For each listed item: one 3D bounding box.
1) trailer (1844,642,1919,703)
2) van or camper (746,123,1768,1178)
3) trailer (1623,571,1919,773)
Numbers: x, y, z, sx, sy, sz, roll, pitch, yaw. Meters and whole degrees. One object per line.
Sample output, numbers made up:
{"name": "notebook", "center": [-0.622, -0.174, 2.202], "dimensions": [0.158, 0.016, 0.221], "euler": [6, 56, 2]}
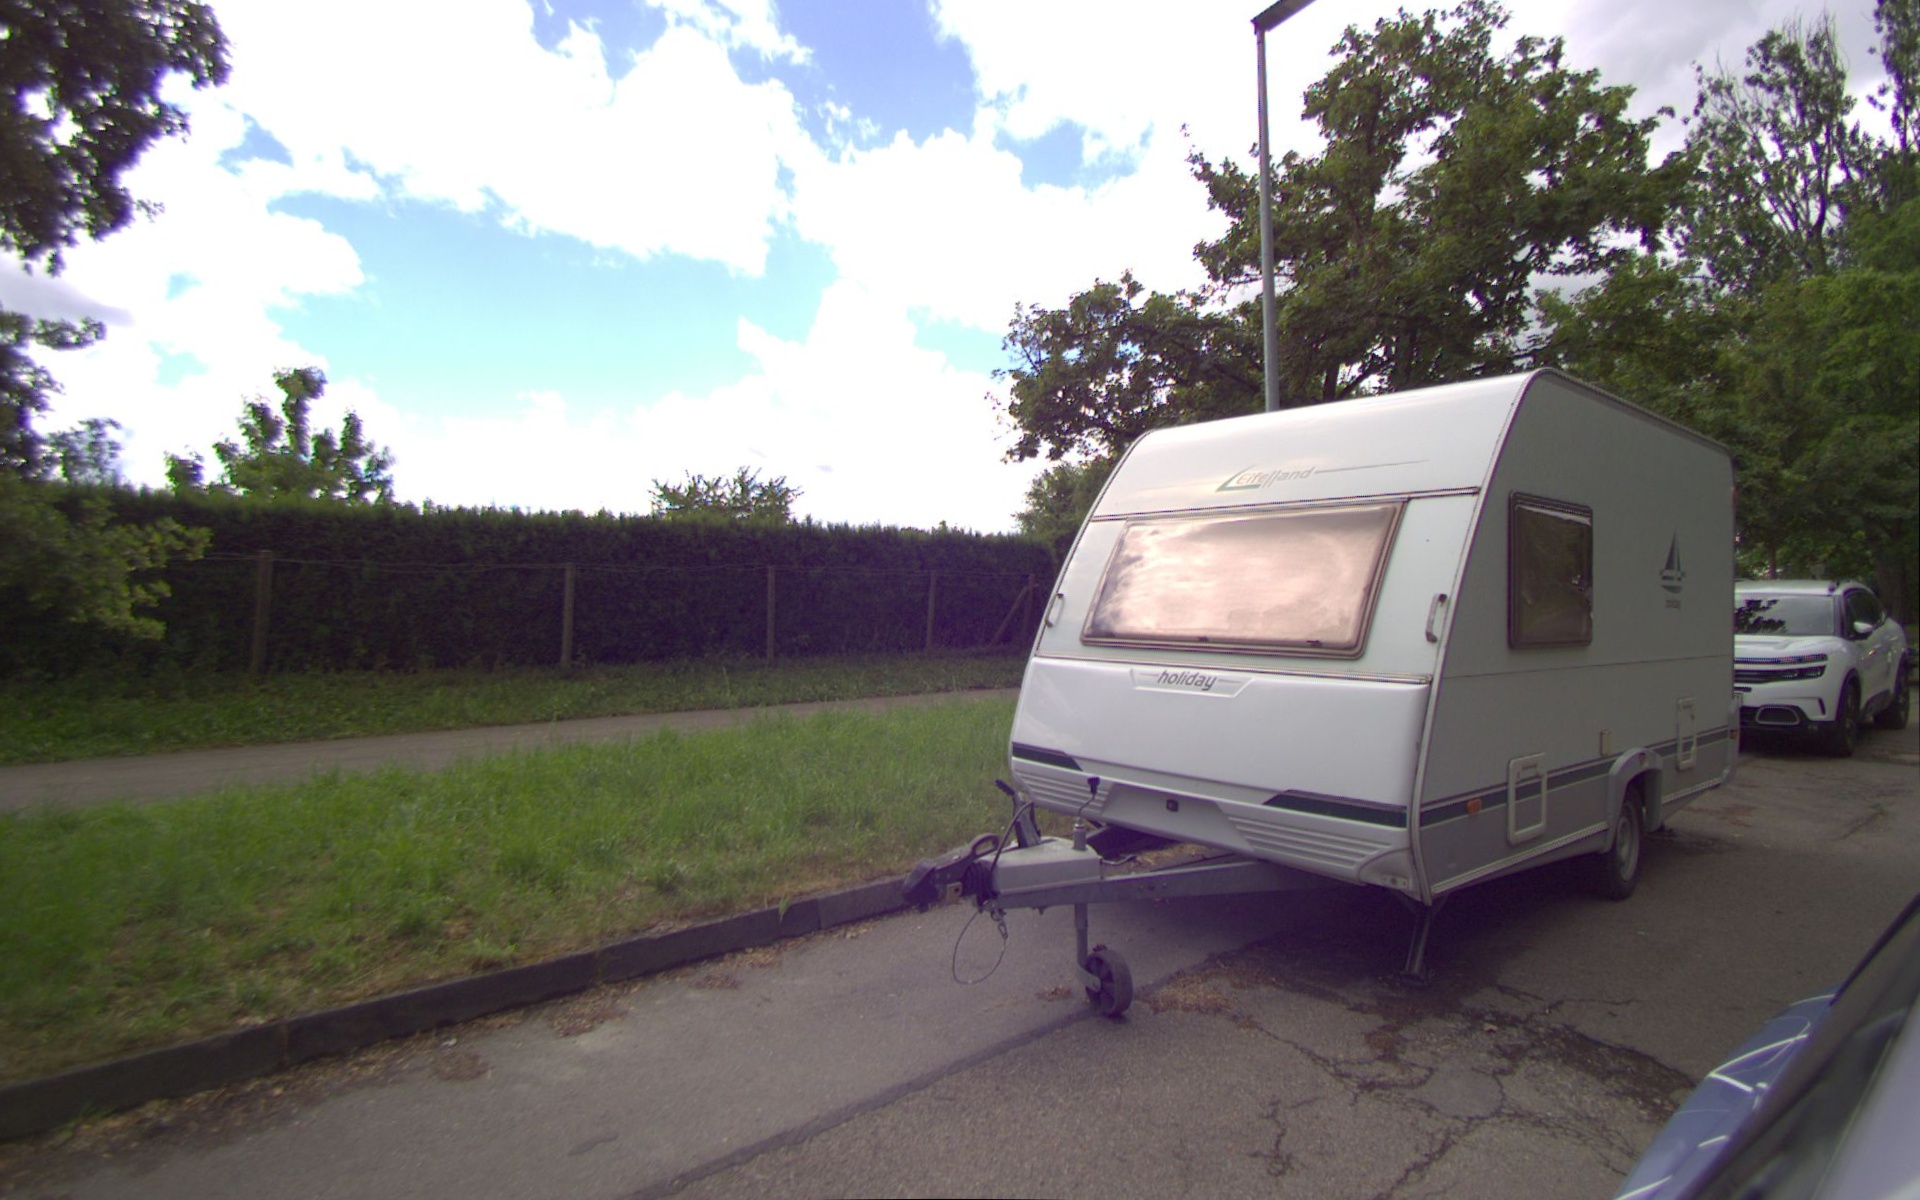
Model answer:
{"name": "trailer", "center": [15.917, 1.051, 15.611], "dimensions": [6.281, 0.659, 2.110], "euler": [-1, 0, -36]}
{"name": "van or camper", "center": [2.080, 0.101, 5.229], "dimensions": [5.925, 2.568, 2.165], "euler": [-1, -1, -41]}
{"name": "trailer", "center": [9.048, 0.569, 10.964], "dimensions": [4.566, 1.752, 1.777], "euler": [-1, 2, -38]}
